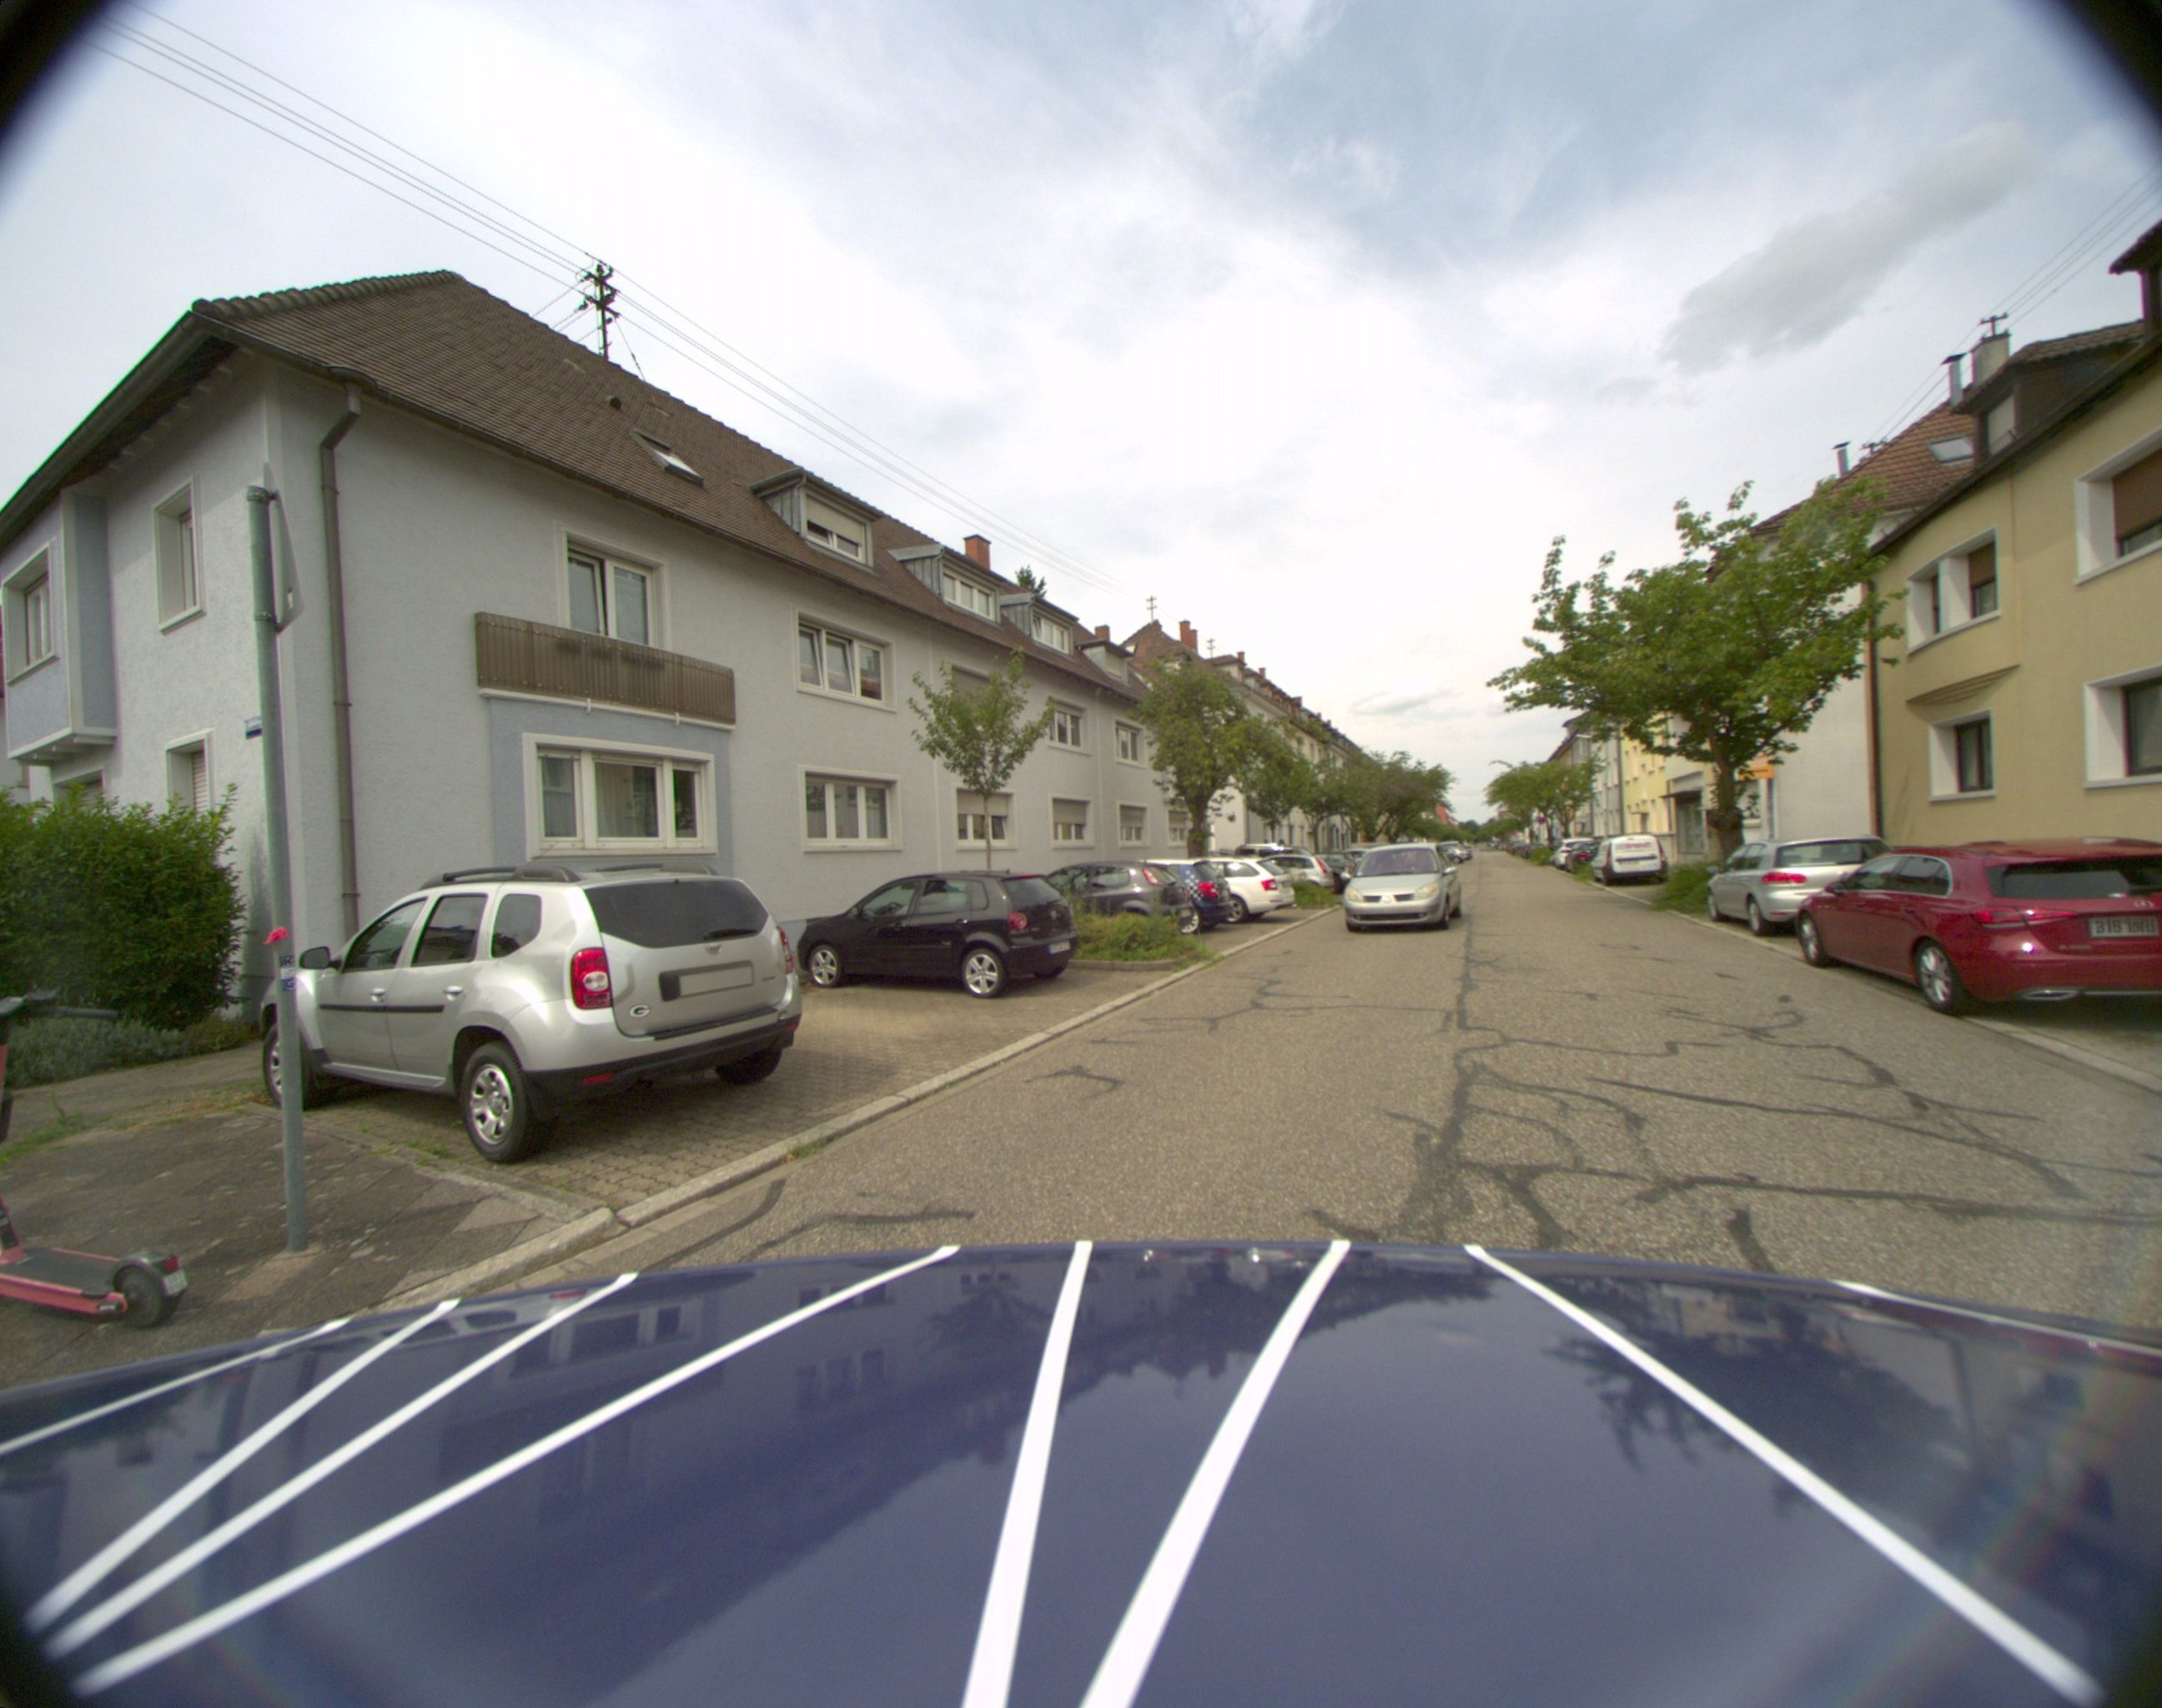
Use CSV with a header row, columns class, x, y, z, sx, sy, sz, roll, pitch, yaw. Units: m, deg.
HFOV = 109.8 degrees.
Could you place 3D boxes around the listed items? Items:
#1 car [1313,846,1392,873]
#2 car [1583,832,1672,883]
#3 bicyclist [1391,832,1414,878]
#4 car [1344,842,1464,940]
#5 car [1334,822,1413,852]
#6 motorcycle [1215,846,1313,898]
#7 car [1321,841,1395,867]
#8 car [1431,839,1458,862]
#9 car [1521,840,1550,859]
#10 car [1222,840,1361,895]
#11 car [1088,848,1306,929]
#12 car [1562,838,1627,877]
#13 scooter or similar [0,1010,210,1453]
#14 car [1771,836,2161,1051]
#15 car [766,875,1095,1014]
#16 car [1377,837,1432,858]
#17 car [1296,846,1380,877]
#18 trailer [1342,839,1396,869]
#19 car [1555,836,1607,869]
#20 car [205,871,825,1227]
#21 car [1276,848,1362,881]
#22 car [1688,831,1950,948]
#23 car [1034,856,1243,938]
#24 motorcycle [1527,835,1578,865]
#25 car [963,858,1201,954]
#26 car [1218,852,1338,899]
class,x,y,z,sx,sy,sz,roll,pitch,yaw
car,14.973,0.307,41.907,3.990,1.402,1.771,-1,1,25
car,18.612,0.068,26.082,1.919,1.572,4.389,0,1,28
bicyclist,12.700,0.037,30.004,0.693,1.759,0.988,-3,0,27
car,6.530,0.606,15.052,1.785,1.595,4.844,-3,0,27
car,17.664,-1.001,45.953,4.217,1.726,1.907,-1,1,30
motorcycle,5.608,0.561,23.318,2.703,1.455,1.033,-3,0,24
car,16.067,0.016,44.102,3.750,1.433,1.868,-1,1,29
car,33.406,-0.379,69.804,1.995,1.903,4.711,-4,-1,26
car,41.526,-0.448,69.467,1.838,1.475,4.127,-6,-1,26
car,7.631,0.454,27.619,4.528,1.847,1.796,-1,1,30
car,2.660,0.729,17.664,4.617,1.654,1.896,-1,1,29
car,22.561,0.109,33.533,1.792,1.483,4.820,-3,0,28
scooter or similar,-3.824,1.238,2.698,1.240,1.236,0.422,-1,1,15
car,8.603,0.588,7.272,1.878,1.477,4.520,0,1,28
car,-1.998,1.028,9.922,3.989,1.413,1.715,-1,1,28
car,33.472,-0.665,78.676,5.233,2.012,2.076,-1,1,24
car,13.380,0.395,39.581,3.990,1.521,1.771,-1,1,25
trailer,18.242,0.018,48.133,2.962,1.821,1.403,0,1,31
car,25.525,-0.102,38.916,1.758,1.547,4.263,-2,0,27
car,-3.947,0.952,5.273,3.926,1.623,1.871,0,0,27
car,11.072,0.479,35.323,3.545,1.444,1.812,-1,1,27
car,11.456,0.468,12.210,1.774,1.383,4.282,-9,-3,28
car,1.186,0.826,15.958,3.989,1.499,1.715,-1,1,28
motorcycle,26.865,-0.205,43.320,0.939,1.666,2.471,-1,-1,-15
car,-0.013,0.856,13.912,3.989,1.499,1.715,-1,1,28
car,6.594,0.695,25.406,3.628,1.446,1.776,-1,1,24
